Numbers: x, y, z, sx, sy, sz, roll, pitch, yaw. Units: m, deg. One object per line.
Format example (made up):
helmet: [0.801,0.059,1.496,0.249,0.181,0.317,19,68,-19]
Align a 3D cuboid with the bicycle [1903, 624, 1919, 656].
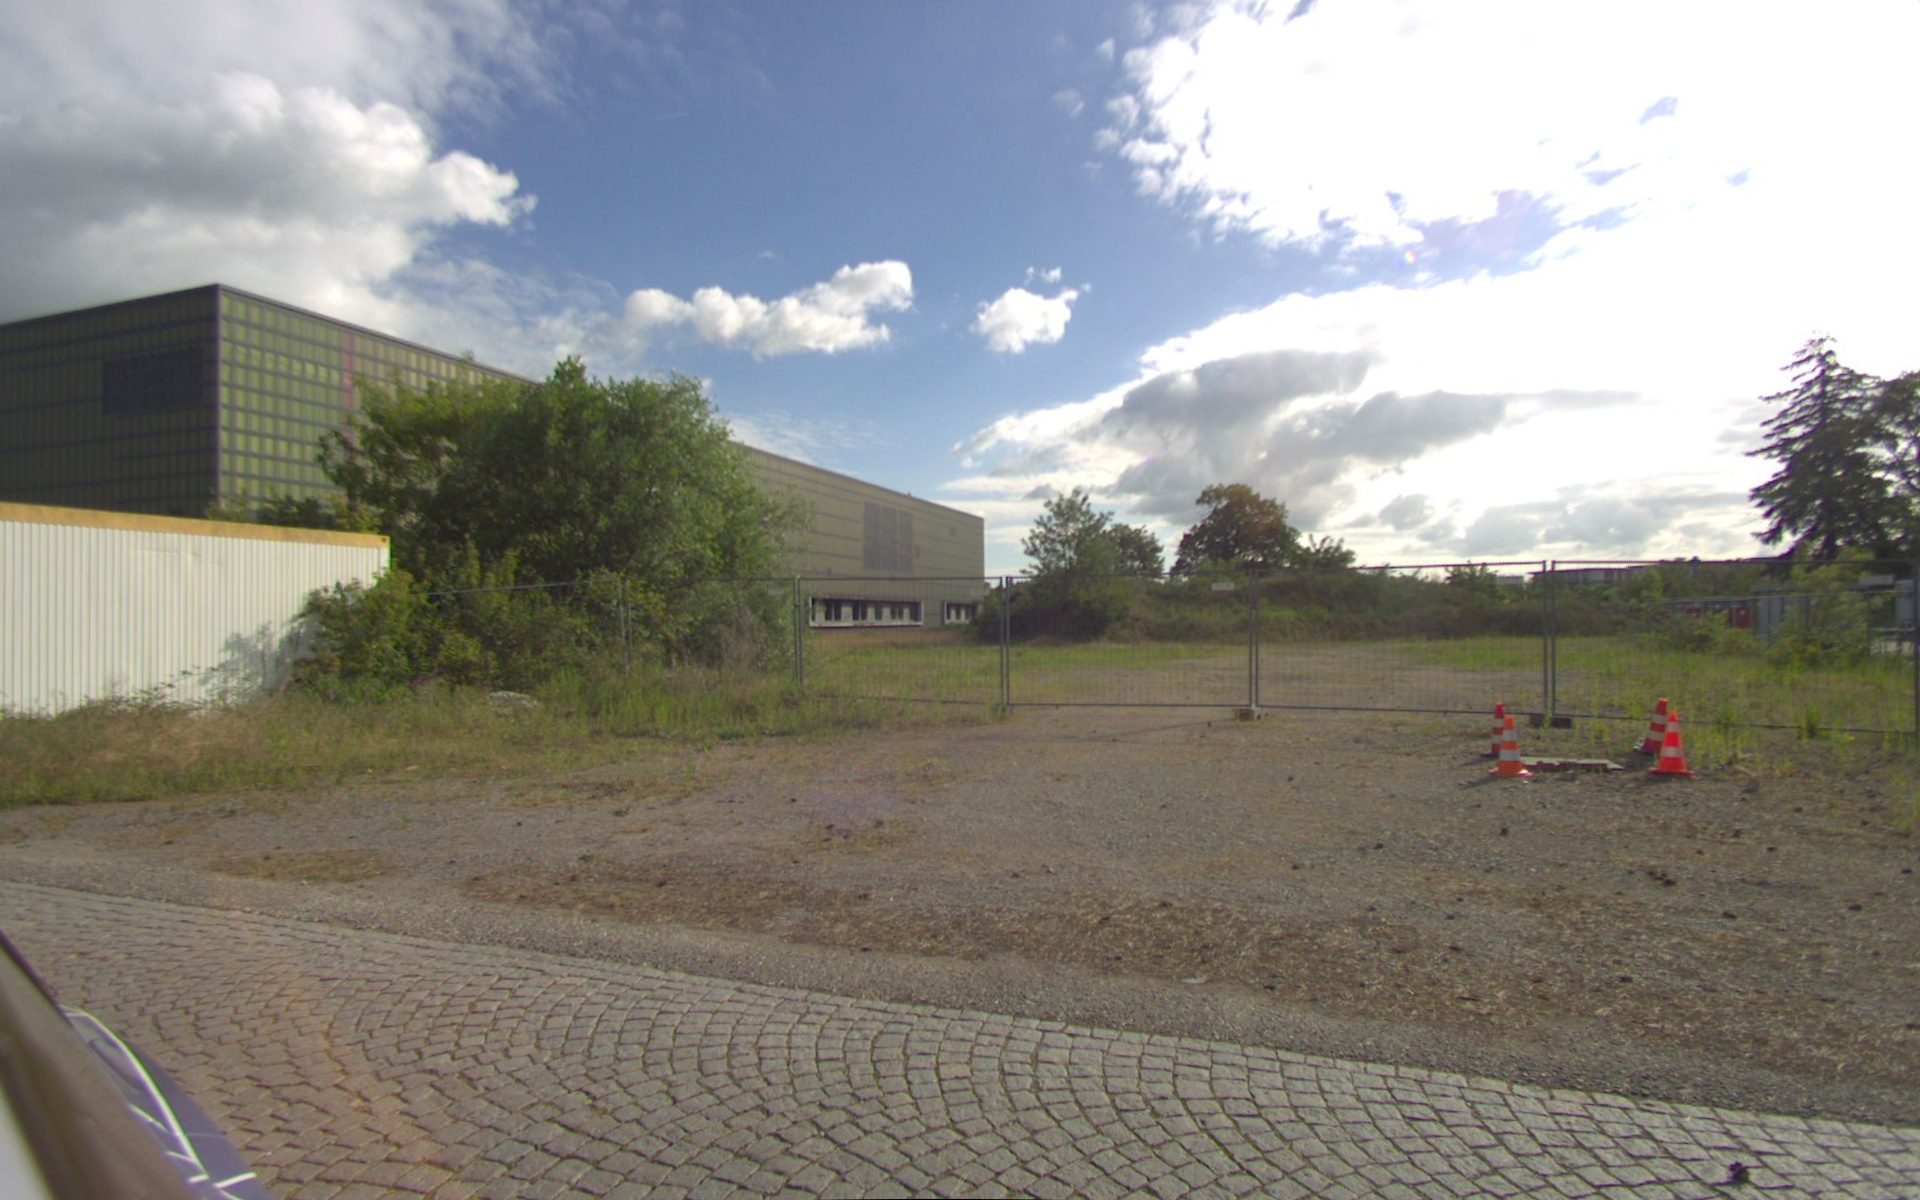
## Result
bicycle: [29.250,1.168,29.714,2.052,0.928,0.940,-1,-2,18]

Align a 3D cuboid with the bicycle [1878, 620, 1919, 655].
bicycle: [29.423,1.124,30.717,2.052,1.052,0.940,-1,-2,18]
